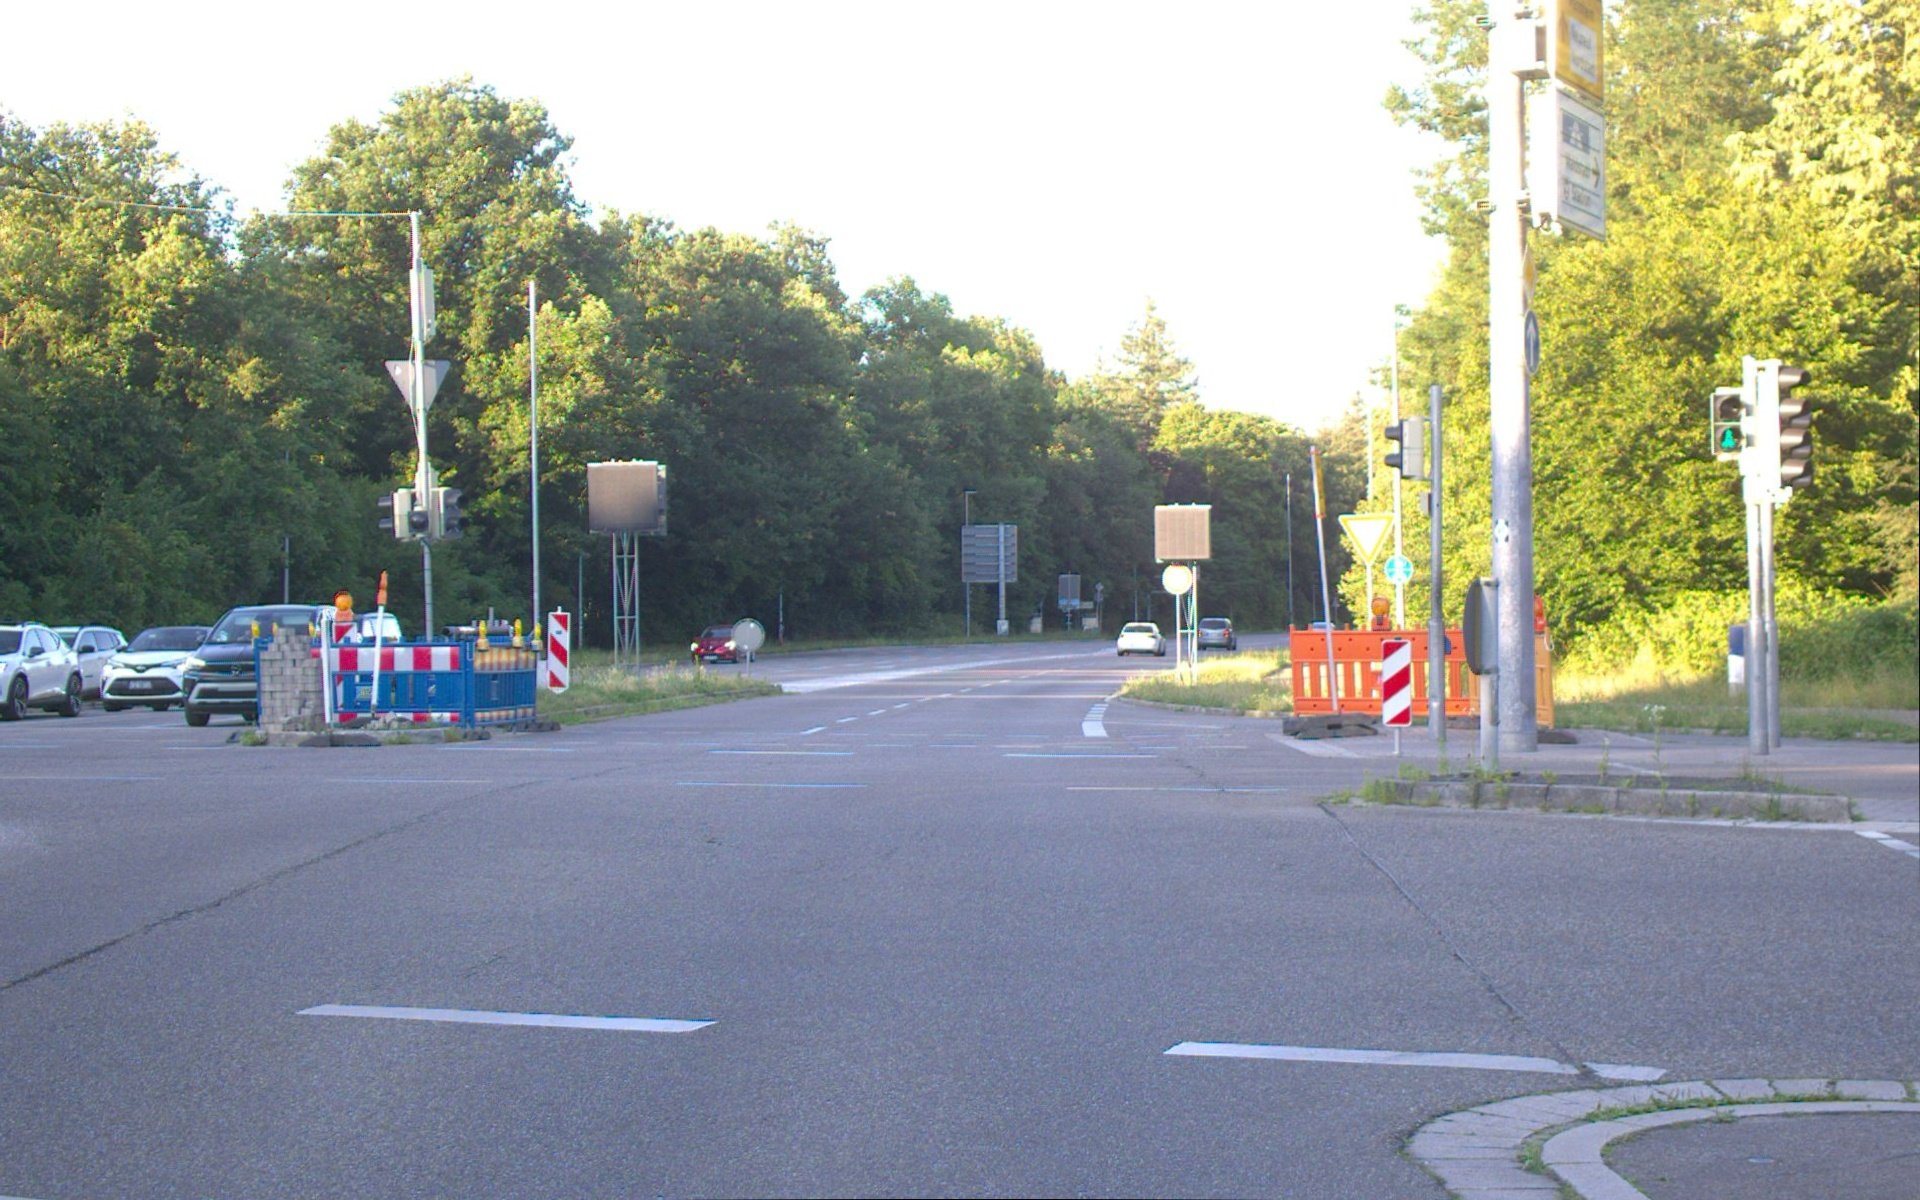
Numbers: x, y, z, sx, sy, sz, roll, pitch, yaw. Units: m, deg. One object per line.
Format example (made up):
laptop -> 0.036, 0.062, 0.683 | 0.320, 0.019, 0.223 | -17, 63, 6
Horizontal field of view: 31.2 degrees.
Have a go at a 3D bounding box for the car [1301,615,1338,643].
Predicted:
car -> 20.814, 1.671, 198.990 | 1.578, 1.529, 3.675 | 0, 0, 16

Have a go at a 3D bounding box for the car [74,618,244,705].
car -> -14.190, 1.065, 61.085 | 1.716, 1.451, 4.232 | -1, 0, 5

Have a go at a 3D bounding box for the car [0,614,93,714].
car -> -14.899, 0.960, 52.916 | 1.716, 1.451, 4.232 | -1, 0, 5

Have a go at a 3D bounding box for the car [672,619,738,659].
car -> -9.645, 1.474, 130.447 | 1.878, 1.417, 4.232 | -1, 0, 4

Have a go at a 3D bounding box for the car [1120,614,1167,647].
car -> 7.776, 1.294, 145.307 | 1.548, 1.343, 3.113 | -1, 0, 11

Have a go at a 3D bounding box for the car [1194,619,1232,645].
car -> 12.831, 1.604, 174.276 | 1.456, 1.240, 2.962 | -1, 0, 14

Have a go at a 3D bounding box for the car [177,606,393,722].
car -> -8.962, 0.821, 45.955 | 1.716, 1.451, 4.232 | -1, 0, 5
